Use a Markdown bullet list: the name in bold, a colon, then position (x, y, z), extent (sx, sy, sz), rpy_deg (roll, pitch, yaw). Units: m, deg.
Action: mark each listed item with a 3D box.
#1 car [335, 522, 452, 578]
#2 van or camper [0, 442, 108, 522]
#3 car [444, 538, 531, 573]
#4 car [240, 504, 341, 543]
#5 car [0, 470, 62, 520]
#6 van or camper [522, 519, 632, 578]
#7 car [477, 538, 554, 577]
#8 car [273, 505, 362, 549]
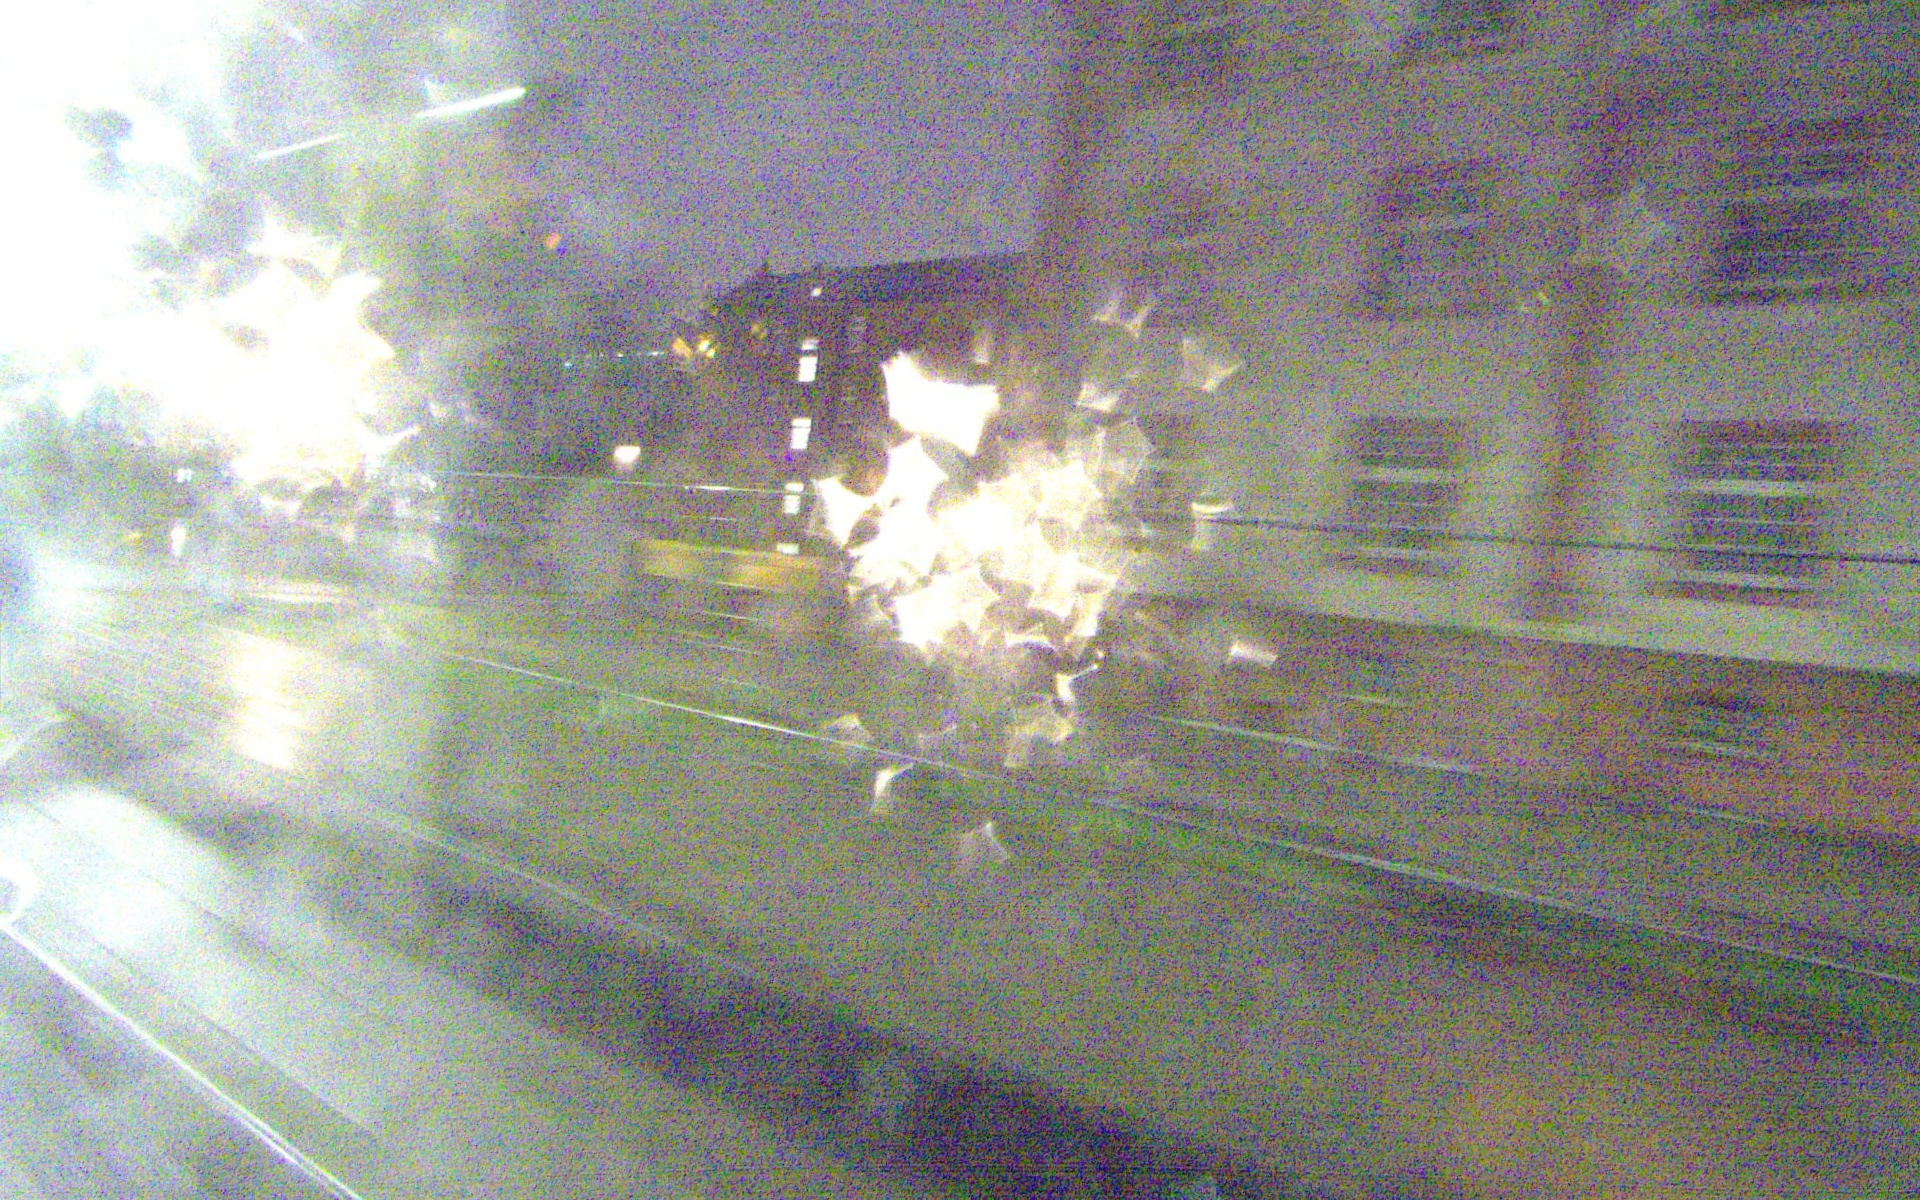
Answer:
- **car**: position (-20.730, -1.824, 36.781), extent (4.188, 1.485, 1.830), rpy_deg (7, -2, 32)
- **van or camper**: position (-36.644, -4.712, 38.917), extent (2.135, 2.558, 5.067), rpy_deg (8, 0, 32)
- **car**: position (-29.750, -2.763, 63.484), extent (1.962, 1.608, 4.593), rpy_deg (7, 0, 31)
- **car**: position (-34.616, -3.952, 52.110), extent (1.652, 1.370, 3.995), rpy_deg (8, 0, 28)
- **car**: position (-34.007, -3.857, 36.170), extent (3.350, 1.487, 1.565), rpy_deg (8, 1, 31)
- **van or camper**: position (-21.733, -2.878, 57.329), extent (2.342, 2.585, 5.385), rpy_deg (7, 0, 30)
- **car**: position (-27.321, -2.580, 61.932), extent (1.677, 1.802, 3.992), rpy_deg (8, 0, 32)
- **car**: position (-28.616, -3.257, 44.776), extent (4.190, 1.431, 1.680), rpy_deg (7, 0, 33)
